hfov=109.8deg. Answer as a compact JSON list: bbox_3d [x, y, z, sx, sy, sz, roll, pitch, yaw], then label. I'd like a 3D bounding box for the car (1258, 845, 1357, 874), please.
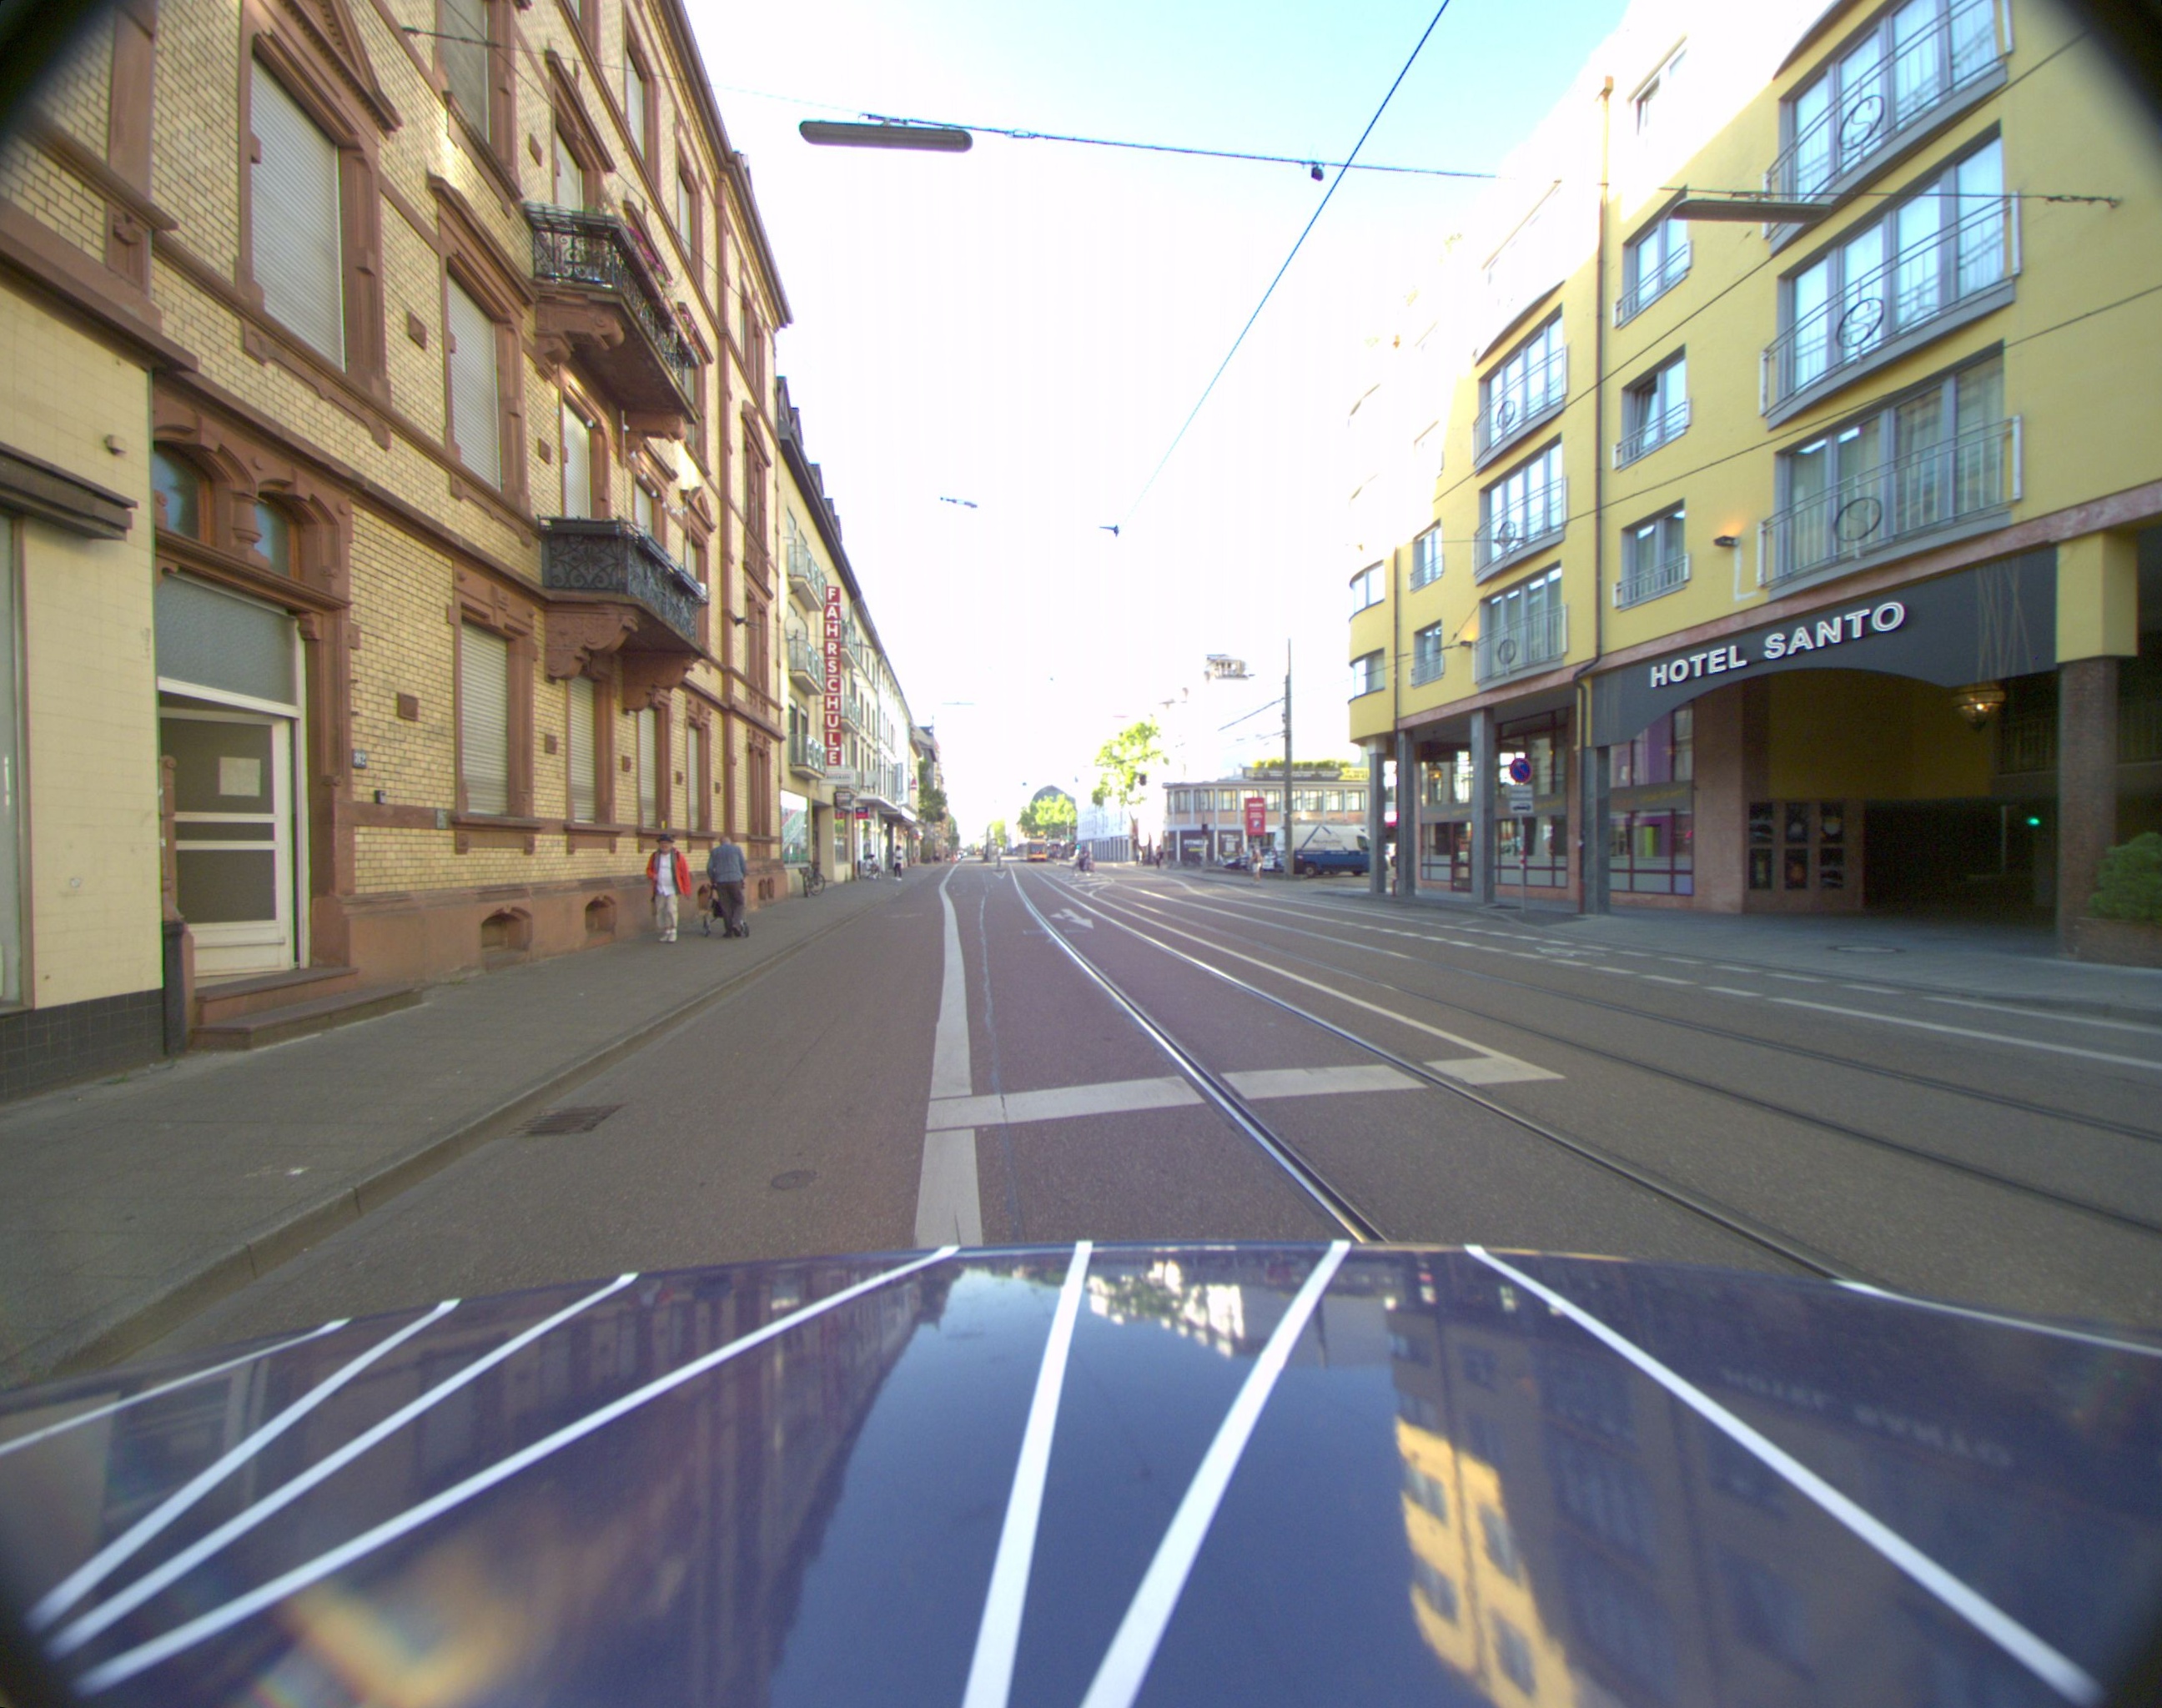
[{"bbox_3d":[11.777,0.291,39.709,4.603,1.467,1.878,0,0,-8],"label":"car"}]

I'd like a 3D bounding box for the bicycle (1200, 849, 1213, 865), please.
[{"bbox_3d":[9.377,0.231,56.714,0.441,1.180,1.830,0,0,-9],"label":"bicycle"}]

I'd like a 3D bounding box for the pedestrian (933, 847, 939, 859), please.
[{"bbox_3d":[-18.383,-0.133,96.170,0.651,1.569,0.682,-1,1,-15],"label":"pedestrian"}]

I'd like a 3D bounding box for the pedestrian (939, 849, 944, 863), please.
[{"bbox_3d":[-17.713,0.221,96.489,0.651,1.706,0.805,-1,1,-15],"label":"pedestrian"}]

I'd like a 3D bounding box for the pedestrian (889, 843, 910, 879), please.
[{"bbox_3d":[-9.392,0.373,39.253,0.706,1.801,0.680,5,0,7],"label":"pedestrian"}]

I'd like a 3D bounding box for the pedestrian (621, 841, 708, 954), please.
[{"bbox_3d":[-6.326,0.649,11.584,0.800,1.618,0.825,5,-1,-7],"label":"pedestrian"}]

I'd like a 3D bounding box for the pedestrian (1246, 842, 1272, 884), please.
[{"bbox_3d":[7.811,0.388,33.441,0.836,1.822,0.908,0,0,-8],"label":"pedestrian"}]

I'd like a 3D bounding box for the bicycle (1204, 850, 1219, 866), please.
[{"bbox_3d":[9.779,0.312,56.988,0.449,1.180,1.829,0,0,-11],"label":"bicycle"}]

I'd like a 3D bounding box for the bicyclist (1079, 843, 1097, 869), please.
[{"bbox_3d":[0.406,0.102,46.182,0.689,1.541,0.839,4,5,43],"label":"bicyclist"}]

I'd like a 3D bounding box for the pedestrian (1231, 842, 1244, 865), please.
[{"bbox_3d":[11.410,-0.019,55.413,0.683,1.687,0.683,0,1,-10],"label":"pedestrian"}]

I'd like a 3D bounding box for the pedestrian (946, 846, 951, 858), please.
[{"bbox_3d":[-20.195,-0.317,115.709,0.808,1.790,0.761,-1,1,-8],"label":"pedestrian"}]

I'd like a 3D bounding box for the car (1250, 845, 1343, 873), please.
[{"bbox_3d":[11.894,0.270,42.157,4.603,1.467,1.878,0,0,-8],"label":"car"}]

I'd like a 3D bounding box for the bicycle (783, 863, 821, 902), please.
[{"bbox_3d":[-8.375,0.834,22.914,0.557,1.055,2.309,2,0,-8],"label":"bicycle"}]

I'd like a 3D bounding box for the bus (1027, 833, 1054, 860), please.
[{"bbox_3d":[-5.831,-1.117,107.306,2.820,3.547,13.668,-1,1,-7],"label":"bus"}]

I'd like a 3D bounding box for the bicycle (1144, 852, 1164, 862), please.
[{"bbox_3d":[7.232,0.314,75.461,1.850,0.906,0.389,-2,-3,-3],"label":"bicycle"}]

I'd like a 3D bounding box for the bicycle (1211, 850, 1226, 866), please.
[{"bbox_3d":[10.284,0.306,56.913,0.444,1.180,1.829,0,0,-11],"label":"bicycle"}]

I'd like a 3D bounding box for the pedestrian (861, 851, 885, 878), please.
[{"bbox_3d":[-10.426,0.537,38.042,0.833,1.248,0.704,5,-1,-43],"label":"pedestrian"}]

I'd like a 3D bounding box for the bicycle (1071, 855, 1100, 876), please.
[{"bbox_3d":[0.297,0.669,46.119,0.681,1.164,1.835,4,5,43],"label":"bicycle"}]

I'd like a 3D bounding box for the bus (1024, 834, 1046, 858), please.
[{"bbox_3d":[-7.404,-1.232,120.584,2.820,3.547,13.668,-1,1,-7],"label":"bus"}]

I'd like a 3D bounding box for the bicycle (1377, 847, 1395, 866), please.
[{"bbox_3d":[19.721,0.149,49.120,0.432,1.180,1.831,0,0,-1],"label":"bicycle"}]

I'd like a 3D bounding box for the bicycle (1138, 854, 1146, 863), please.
[{"bbox_3d":[6.057,0.442,75.339,0.389,0.907,1.850,-2,1,-7],"label":"bicycle"}]

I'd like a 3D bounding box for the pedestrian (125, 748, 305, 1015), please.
[{"bbox_3d":[-6.545,0.207,5.777,0.515,1.895,0.594,5,-1,-7],"label":"pedestrian"}]

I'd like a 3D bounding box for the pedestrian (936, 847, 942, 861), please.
[{"bbox_3d":[-17.984,0.000,96.260,0.651,1.761,0.696,-1,1,-3],"label":"pedestrian"}]

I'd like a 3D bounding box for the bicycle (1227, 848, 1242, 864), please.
[{"bbox_3d":[11.441,0.156,56.676,0.449,1.180,1.829,0,0,-11],"label":"bicycle"}]

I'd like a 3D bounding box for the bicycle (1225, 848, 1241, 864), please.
[{"bbox_3d":[11.203,0.132,55.988,0.449,1.180,1.829,0,0,-11],"label":"bicycle"}]

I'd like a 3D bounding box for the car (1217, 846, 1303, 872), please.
[{"bbox_3d":[11.104,0.312,47.275,4.910,1.574,1.878,0,0,-8],"label":"car"}]

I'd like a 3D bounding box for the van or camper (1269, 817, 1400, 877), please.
[{"bbox_3d":[12.340,-0.331,37.165,5.624,2.810,2.313,0,0,-7],"label":"van or camper"}]

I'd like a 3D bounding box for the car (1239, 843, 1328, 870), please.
[{"bbox_3d":[11.718,0.144,44.071,4.603,1.467,1.878,0,0,-8],"label":"car"}]

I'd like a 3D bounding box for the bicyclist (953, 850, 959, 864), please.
[{"bbox_3d":[-14.775,0.321,89.988,0.677,1.604,0.836,-1,1,-10],"label":"bicyclist"}]

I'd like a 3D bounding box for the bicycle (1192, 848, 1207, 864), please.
[{"bbox_3d":[8.845,0.163,56.853,0.447,1.180,1.829,-1,0,-14],"label":"bicycle"}]

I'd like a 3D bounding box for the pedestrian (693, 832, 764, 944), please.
[{"bbox_3d":[-5.929,0.559,12.828,0.808,1.789,0.761,3,0,-8],"label":"pedestrian"}]

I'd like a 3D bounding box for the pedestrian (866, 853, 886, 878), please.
[{"bbox_3d":[-10.560,0.591,39.131,0.708,1.167,1.013,5,-1,-27],"label":"pedestrian"}]

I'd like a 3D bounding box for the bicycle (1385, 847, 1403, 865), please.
[{"bbox_3d":[20.231,0.136,49.150,0.432,1.180,1.831,0,0,-1],"label":"bicycle"}]

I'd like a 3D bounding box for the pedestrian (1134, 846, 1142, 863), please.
[{"bbox_3d":[5.723,0.063,76.659,0.630,1.706,0.826,0,1,19],"label":"pedestrian"}]
